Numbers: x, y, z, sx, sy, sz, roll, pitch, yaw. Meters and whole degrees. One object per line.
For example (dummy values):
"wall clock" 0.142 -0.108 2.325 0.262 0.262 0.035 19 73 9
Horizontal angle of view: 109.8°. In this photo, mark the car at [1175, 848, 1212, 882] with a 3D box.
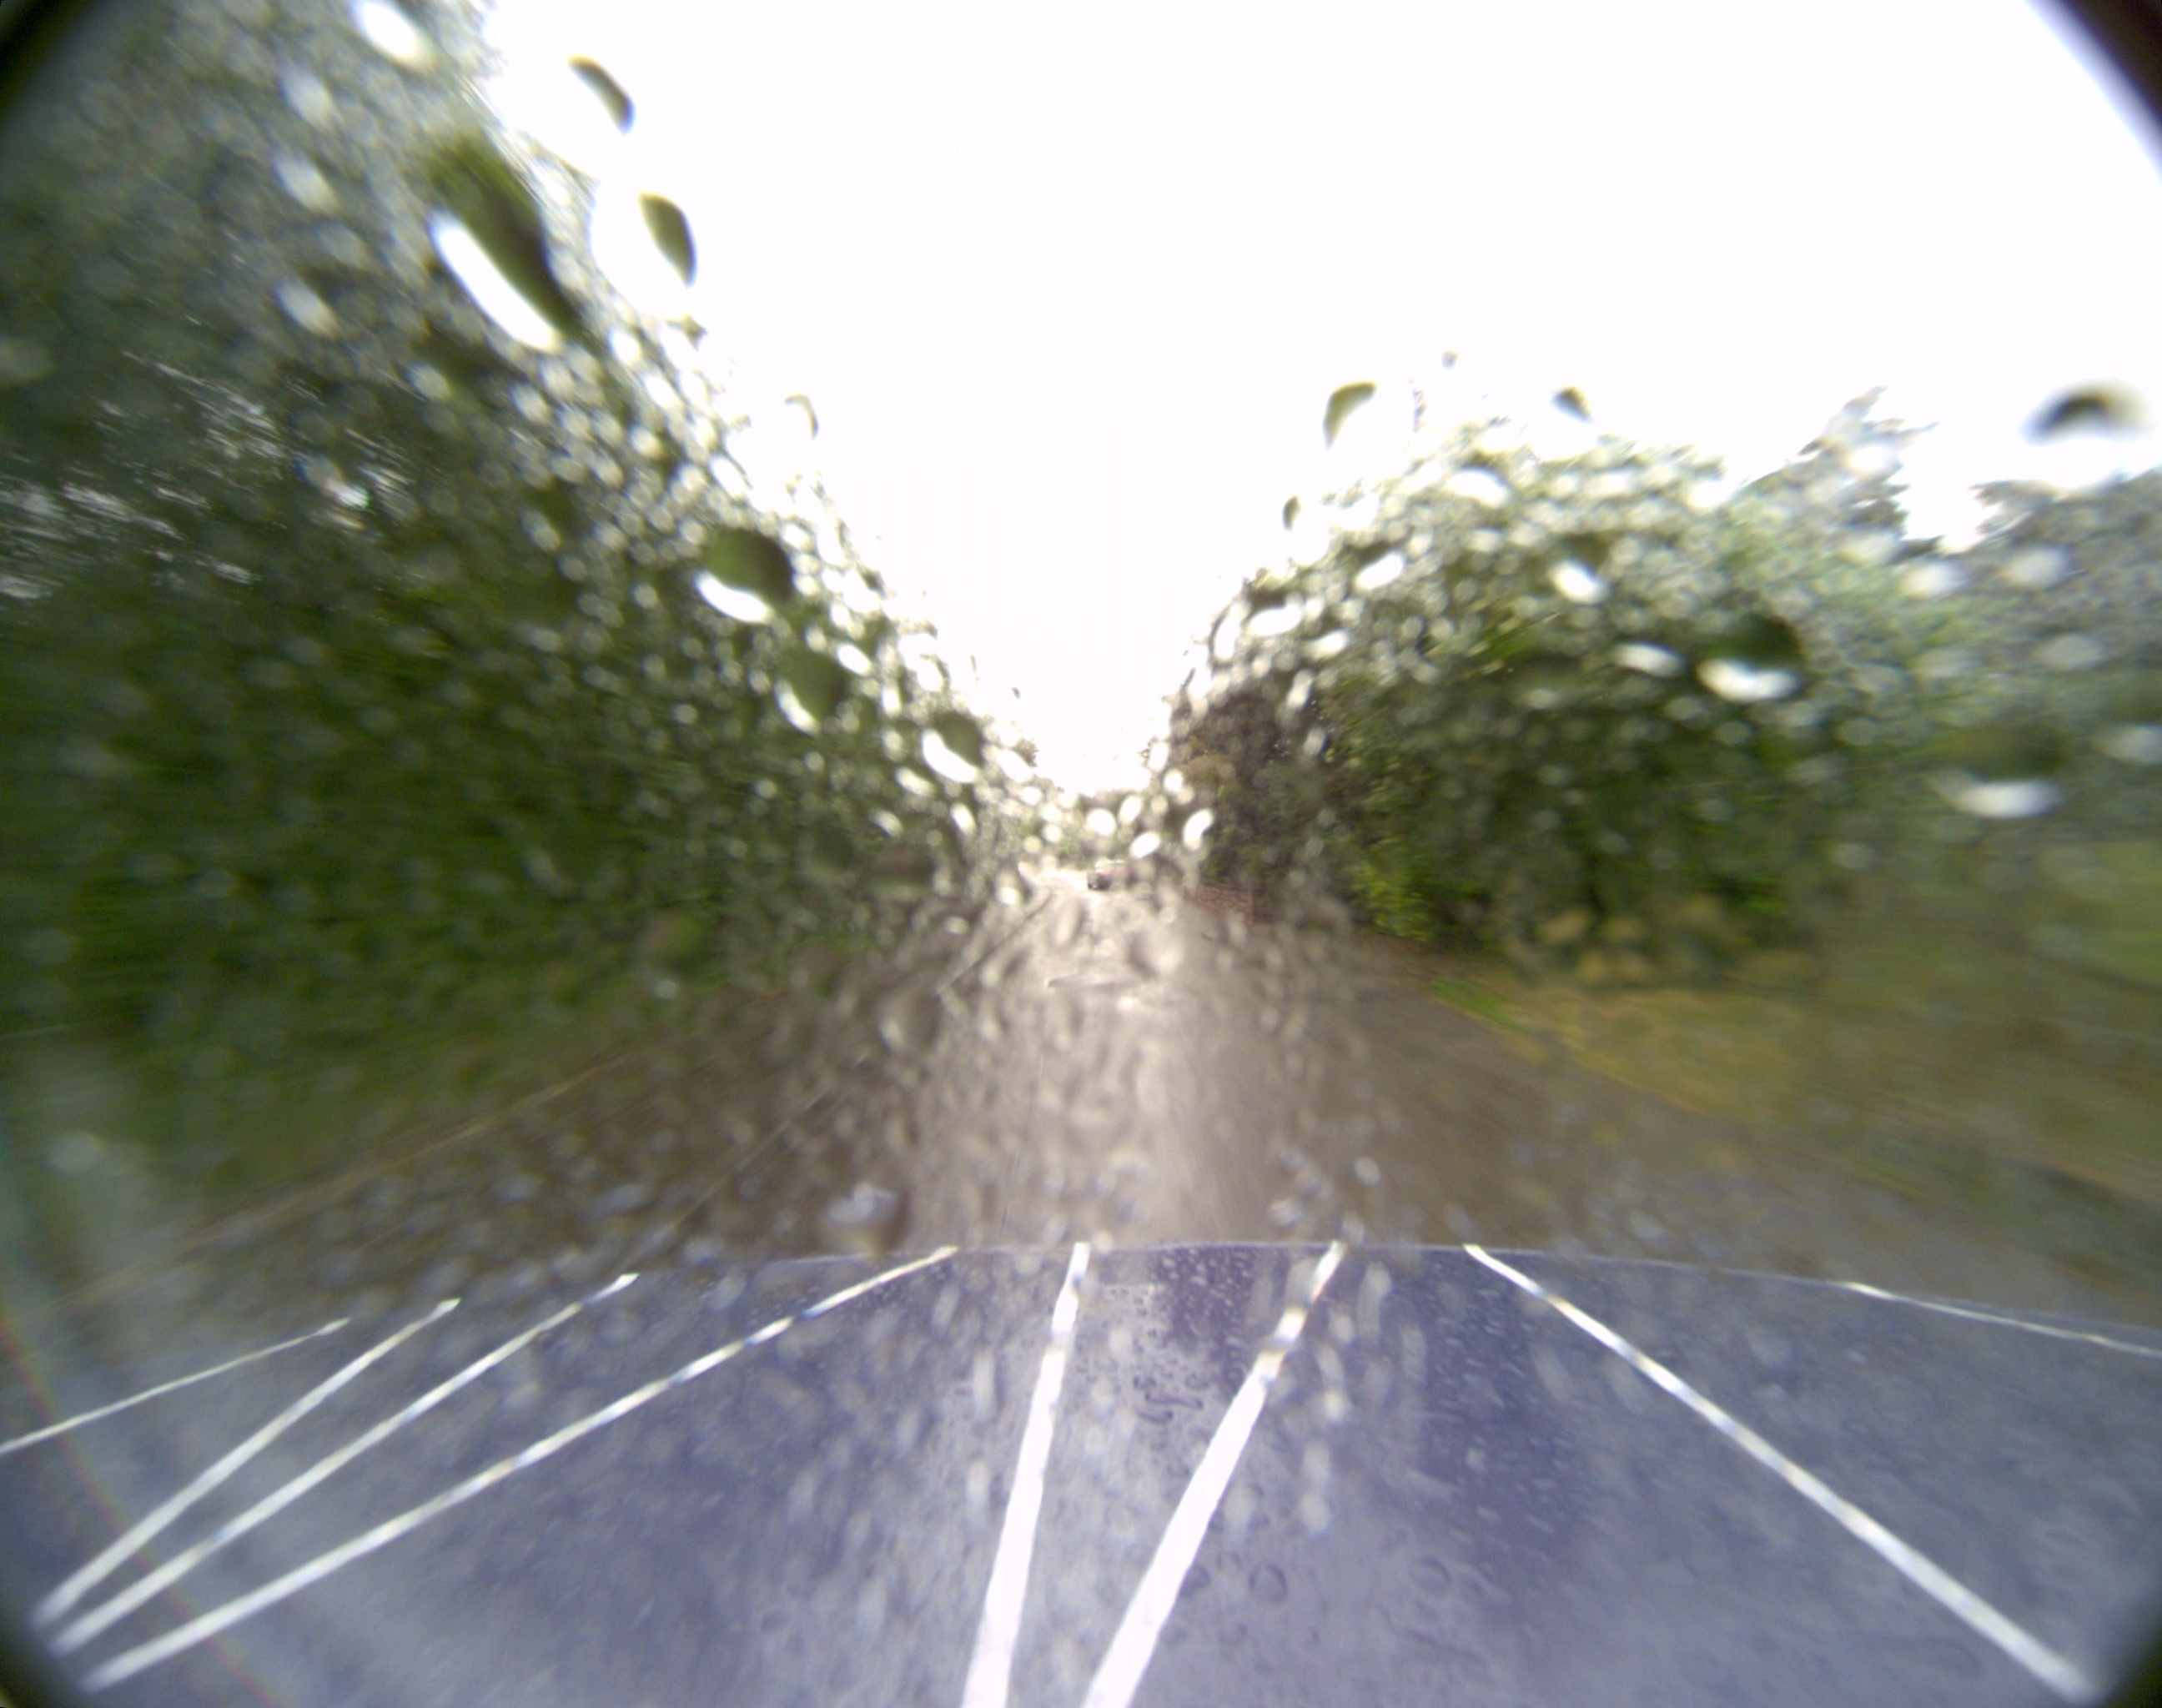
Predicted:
"car" 6.291 0.565 42.769 1.788 1.518 3.656 -5 3 6

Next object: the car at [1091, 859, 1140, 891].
"car" 1.786 1.083 40.683 1.894 1.514 4.419 -3 1 -6
